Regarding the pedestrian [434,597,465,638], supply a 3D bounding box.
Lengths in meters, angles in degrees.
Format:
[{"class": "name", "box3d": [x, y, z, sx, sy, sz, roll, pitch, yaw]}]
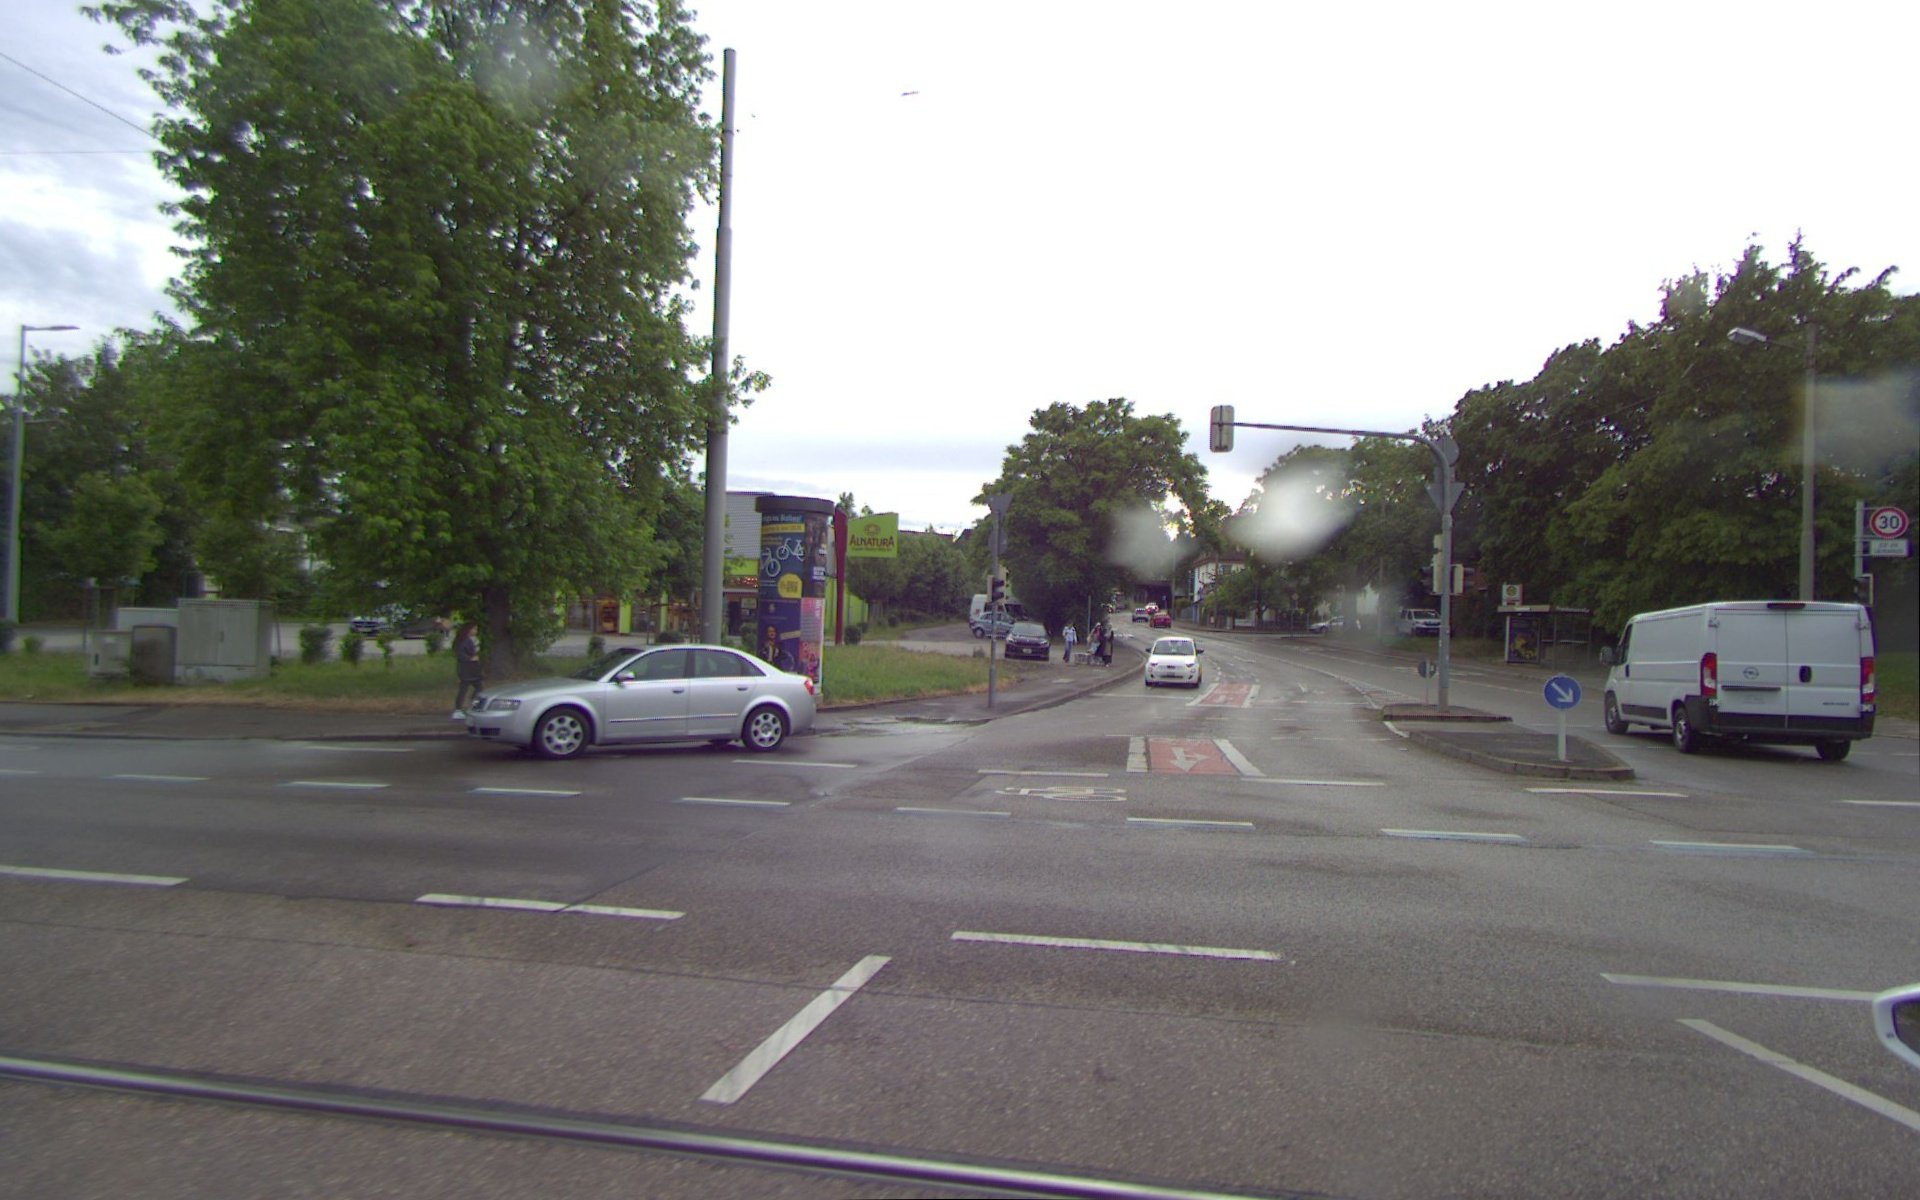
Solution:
[{"class": "pedestrian", "box3d": [-20.931, 0.712, 41.175, 0.743, 1.618, 0.804, 3, 1, 12]}]

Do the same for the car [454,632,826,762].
[{"class": "car", "box3d": [-4.081, 1.227, 13.252, 4.389, 1.455, 1.574, 4, -4, -39]}]

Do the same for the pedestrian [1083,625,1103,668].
[{"class": "pedestrian", "box3d": [5.222, 1.809, 39.460, 0.595, 1.623, 0.678, 3, 1, 18]}]

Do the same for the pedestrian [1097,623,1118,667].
[{"class": "pedestrian", "box3d": [5.698, 1.720, 38.786, 0.645, 1.623, 0.678, 3, 1, 18]}]

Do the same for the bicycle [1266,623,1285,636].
[{"class": "bicycle", "box3d": [27.416, 2.533, 87.352, 1.544, 1.130, 0.457, 0, 0, 8]}]

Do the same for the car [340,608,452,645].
[{"class": "car", "box3d": [-22.640, 1.046, 40.498, 1.740, 1.363, 4.381, 2, -1, 5]}]

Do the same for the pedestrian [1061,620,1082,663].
[{"class": "pedestrian", "box3d": [4.352, 1.622, 39.175, 0.645, 1.623, 0.678, 3, 1, 18]}]

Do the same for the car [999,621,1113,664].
[{"class": "car", "box3d": [3.818, 1.700, 40.057, 4.174, 1.468, 1.743, 4, -1, -22]}]

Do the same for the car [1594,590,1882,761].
[{"class": "car", "box3d": [12.224, 1.098, 16.289, 2.111, 2.313, 5.064, -1, -2, 19]}]

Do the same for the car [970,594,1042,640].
[{"class": "car", "box3d": [2.811, 1.002, 63.151, 2.085, 2.566, 5.570, 3, 1, -25]}]

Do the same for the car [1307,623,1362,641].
[{"class": "car", "box3d": [31.031, 2.647, 83.205, 3.920, 1.441, 1.705, 0, -2, 1]}]

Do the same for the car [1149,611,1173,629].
[{"class": "car", "box3d": [20.078, 1.986, 100.497, 1.806, 1.554, 4.204, 2, 0, 4]}]

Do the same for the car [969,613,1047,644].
[{"class": "car", "box3d": [2.791, 1.645, 58.492, 4.052, 1.563, 1.996, 3, 1, 30]}]

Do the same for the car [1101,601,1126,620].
[{"class": "car", "box3d": [26.036, 1.735, 170.287, 2.493, 3.058, 7.207, 2, 0, 23]}]

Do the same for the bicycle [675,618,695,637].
[{"class": "bicycle", "box3d": [-14.298, 1.426, 52.263, 0.523, 0.995, 1.616, 1, -1, 4]}]

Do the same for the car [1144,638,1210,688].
[{"class": "car", "box3d": [7.098, 2.018, 32.610, 1.659, 1.502, 4.001, 0, -3, 19]}]

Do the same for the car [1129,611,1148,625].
[{"class": "car", "box3d": [21.323, 2.128, 120.088, 1.736, 1.531, 3.756, 2, 0, 4]}]

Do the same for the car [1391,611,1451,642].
[{"class": "car", "box3d": [29.789, 1.678, 65.040, 1.960, 1.829, 5.150, 3, 0, 7]}]

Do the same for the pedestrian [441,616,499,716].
[{"class": "pedestrian", "box3d": [-7.941, 1.061, 16.293, 0.657, 1.552, 0.591, 3, 1, -12]}]
